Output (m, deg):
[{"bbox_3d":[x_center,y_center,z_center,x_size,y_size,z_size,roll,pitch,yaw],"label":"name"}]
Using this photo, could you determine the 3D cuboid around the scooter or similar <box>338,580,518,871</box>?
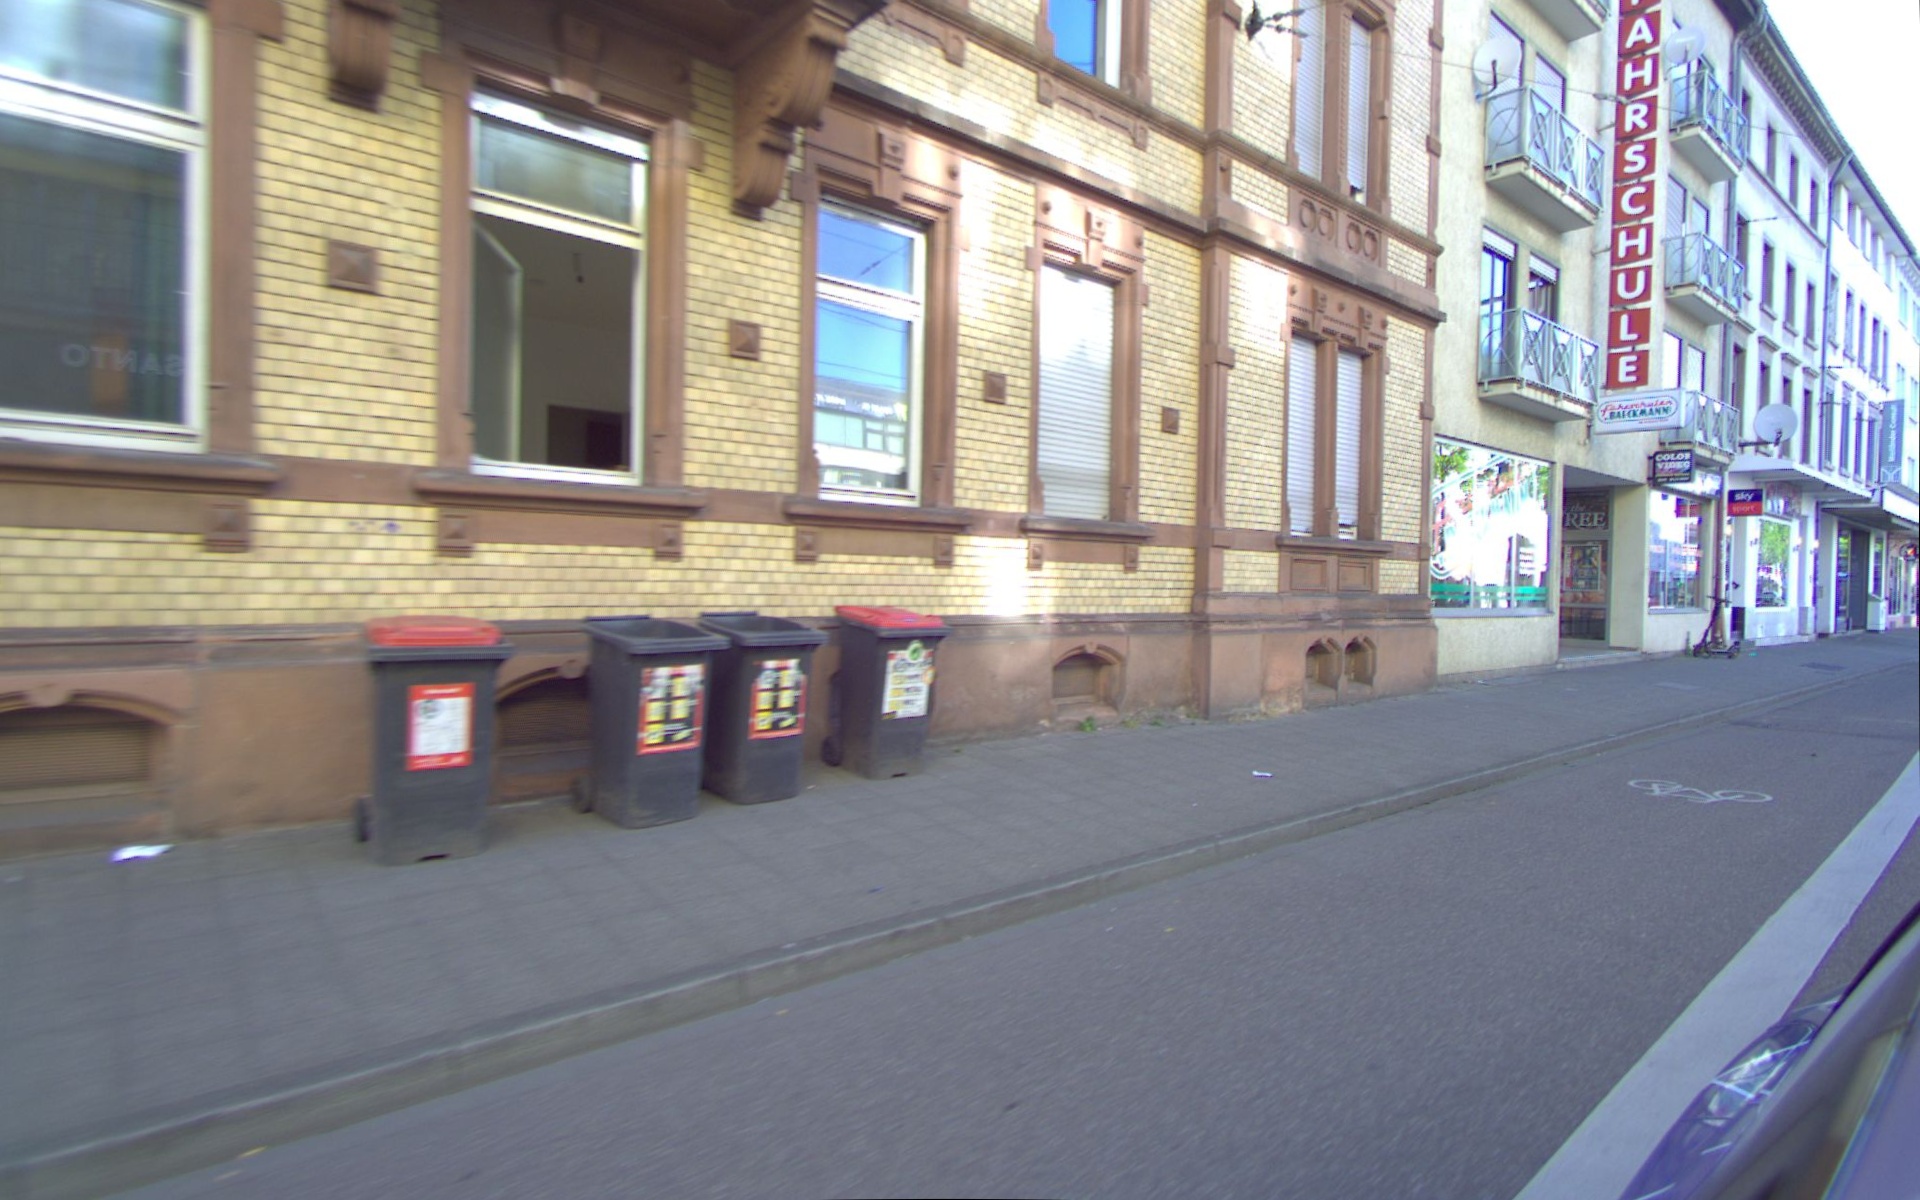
[{"bbox_3d":[-2.542,0.529,4.801,0.538,1.162,0.899,0,6,-41],"label":"scooter or similar"}]

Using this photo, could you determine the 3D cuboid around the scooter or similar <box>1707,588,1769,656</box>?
[{"bbox_3d":[15.259,0.415,19.856,1.257,1.297,0.412,0,0,-24],"label":"scooter or similar"}]

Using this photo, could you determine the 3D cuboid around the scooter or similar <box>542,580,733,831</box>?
[{"bbox_3d":[-1.776,0.513,5.518,0.639,1.162,0.935,0,5,-41],"label":"scooter or similar"}]

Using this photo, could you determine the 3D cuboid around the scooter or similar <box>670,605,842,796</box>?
[{"bbox_3d":[-1.229,0.554,6.047,0.669,0.968,0.792,0,5,-42],"label":"scooter or similar"}]

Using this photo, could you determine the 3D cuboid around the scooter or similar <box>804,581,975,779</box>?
[{"bbox_3d":[-0.483,0.491,6.822,0.776,1.162,0.792,0,5,-42],"label":"scooter or similar"}]
